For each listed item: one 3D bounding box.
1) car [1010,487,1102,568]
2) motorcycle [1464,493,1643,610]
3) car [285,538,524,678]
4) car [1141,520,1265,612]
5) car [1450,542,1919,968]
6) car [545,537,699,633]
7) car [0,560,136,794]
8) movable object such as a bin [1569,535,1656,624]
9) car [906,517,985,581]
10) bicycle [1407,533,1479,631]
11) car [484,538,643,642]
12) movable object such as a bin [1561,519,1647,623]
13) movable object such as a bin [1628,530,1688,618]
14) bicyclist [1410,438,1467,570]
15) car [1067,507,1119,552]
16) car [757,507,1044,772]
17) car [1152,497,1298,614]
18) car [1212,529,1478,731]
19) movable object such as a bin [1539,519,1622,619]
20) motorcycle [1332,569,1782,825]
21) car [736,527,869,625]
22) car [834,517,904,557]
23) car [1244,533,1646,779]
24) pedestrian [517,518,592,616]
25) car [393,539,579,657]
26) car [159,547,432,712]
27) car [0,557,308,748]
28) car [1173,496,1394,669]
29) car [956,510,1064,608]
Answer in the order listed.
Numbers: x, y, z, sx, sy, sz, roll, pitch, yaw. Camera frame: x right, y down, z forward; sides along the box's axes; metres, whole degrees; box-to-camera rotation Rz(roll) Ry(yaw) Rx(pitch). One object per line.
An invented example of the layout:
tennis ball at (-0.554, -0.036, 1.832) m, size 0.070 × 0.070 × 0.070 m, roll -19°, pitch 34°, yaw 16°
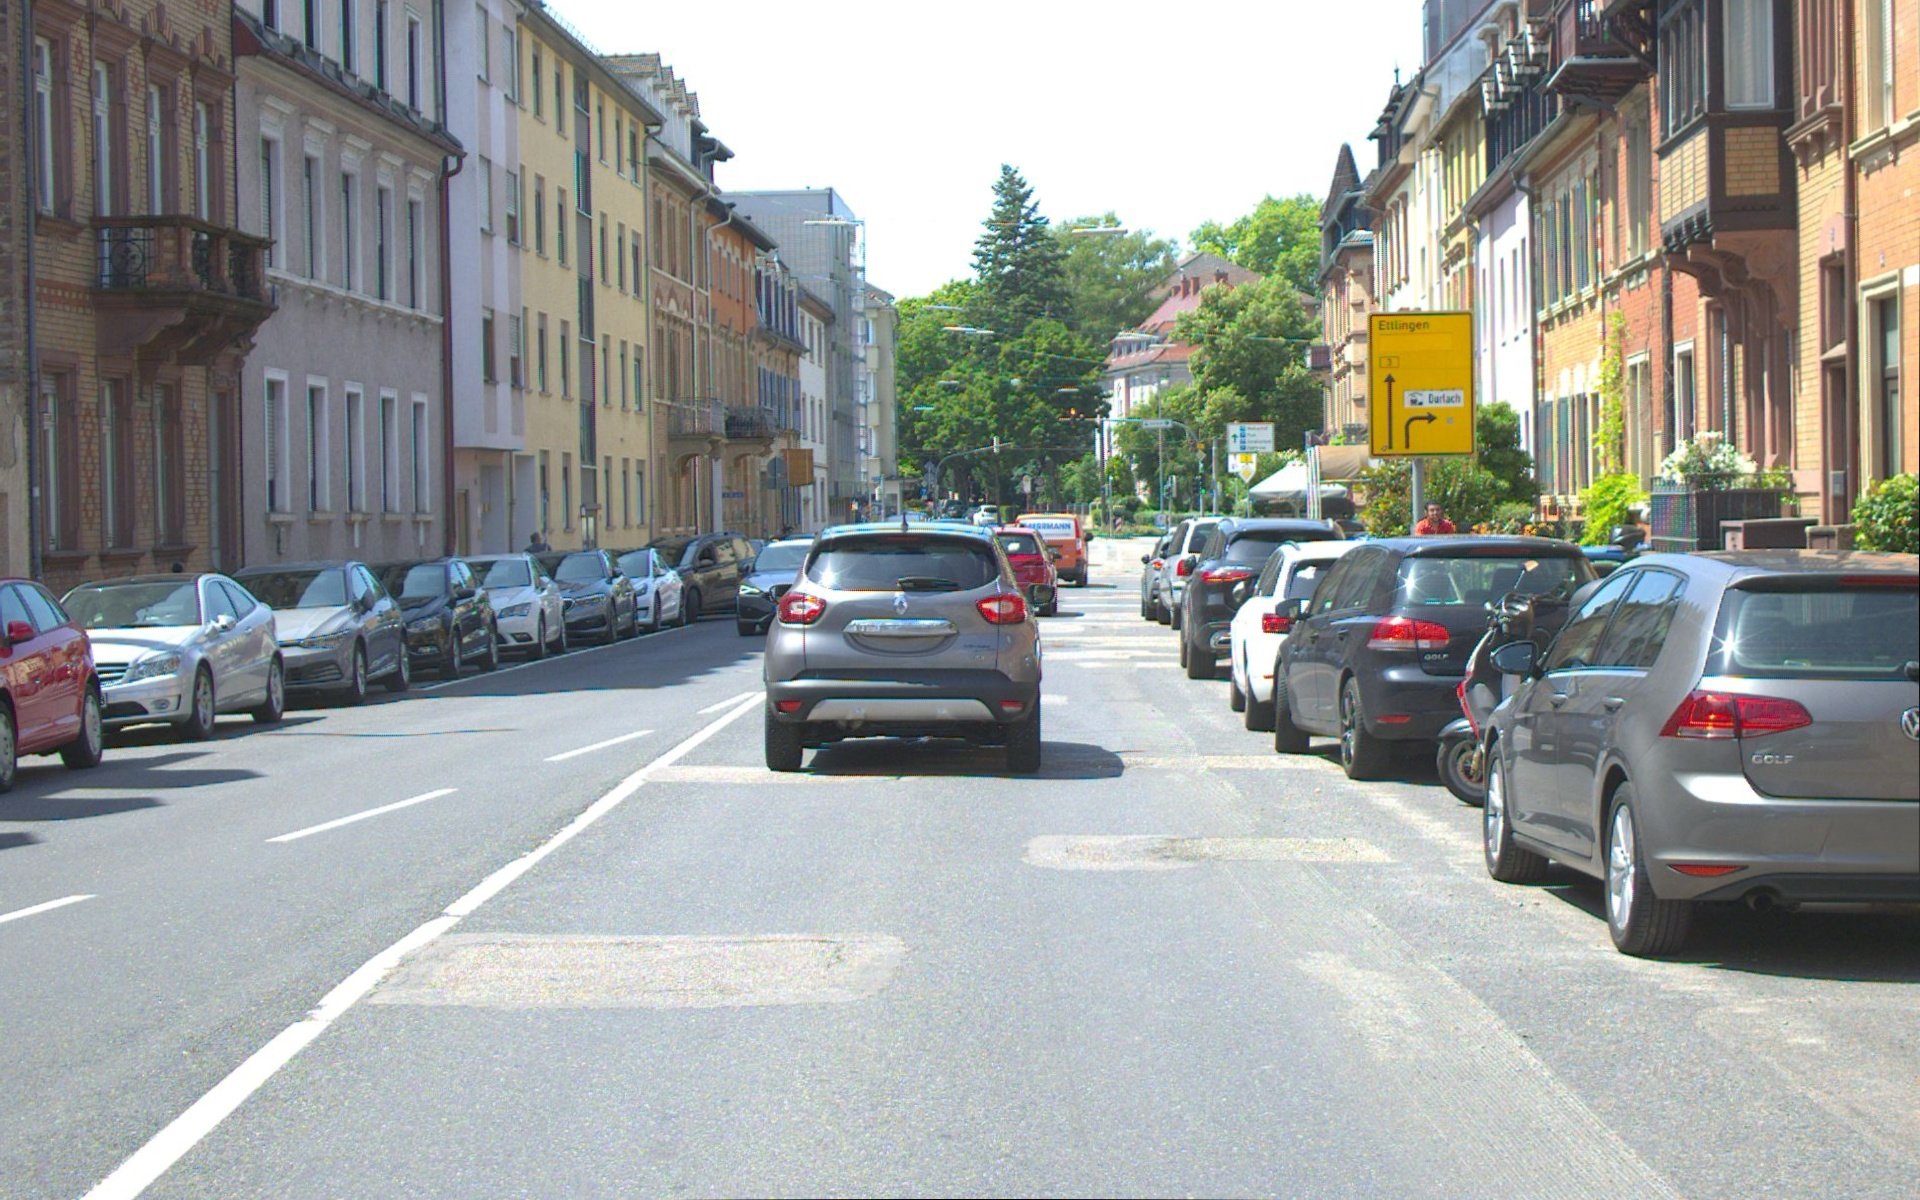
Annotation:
car at (2.537, -1.914, 89.804) m, size 1.994 × 2.006 × 4.465 m, roll -2°, pitch 2°, yaw 6°
motorcycle at (7.784, -0.642, 45.144) m, size 2.129 × 1.403 × 0.937 m, roll -3°, pitch 1°, yaw 2°
car at (-6.632, 0.051, 41.542) m, size 1.840 × 1.417 × 4.502 m, roll -5°, pitch 1°, yaw 3°
car at (4.151, -0.615, 59.307) m, size 1.860 × 1.482 × 4.310 m, roll 0°, pitch 2°, yaw 0°
car at (3.099, 0.477, 13.428) m, size 1.700 × 1.376 × 4.167 m, roll -1°, pitch 1°, yaw -1°
car at (-5.701, -0.282, 58.541) m, size 1.840 × 1.417 × 4.557 m, roll -4°, pitch 1°, yaw 3°
car at (-7.026, 0.531, 23.287) m, size 1.839 × 1.417 × 4.503 m, roll -4°, pitch 1°, yaw -2°
movable object such as a bin at (6.945, -0.222, 36.600) m, size 0.788 × 0.904 × 0.539 m, roll -2°, pitch 1°, yaw -1°
car at (-0.409, -1.548, 103.463) m, size 1.994 × 1.786 × 5.148 m, roll -2°, pitch 1°, yaw 3°
bicycle at (5.472, -0.217, 39.021) m, size 0.593 × 1.062 × 1.882 m, roll -2°, pitch 1°, yaw 2°
car at (-6.035, -0.187, 52.768) m, size 1.840 × 1.417 × 4.646 m, roll -4°, pitch 1°, yaw 0°
movable object such as a bin at (6.968, -0.319, 37.223) m, size 0.788 × 1.085 × 0.539 m, roll -2°, pitch 1°, yaw -1°
movable object such as a bin at (8.660, -0.328, 42.675) m, size 0.609 × 1.073 × 0.761 m, roll -1°, pitch 1°, yaw 3°
bicyclist at (5.435, -1.087, 39.082) m, size 0.532 × 1.464 × 0.791 m, roll -2°, pitch 1°, yaw 3°
car at (4.837, -2.556, 124.326) m, size 1.763 × 1.554 × 3.942 m, roll -1°, pitch 1°, yaw 4°
car at (-0.335, 0.204, 22.917) m, size 1.744 × 1.611 × 4.000 m, roll 0°, pitch 1°, yaw 1°
car at (4.118, -0.740, 54.086) m, size 1.860 × 1.742 × 4.619 m, roll 0°, pitch 2°, yaw -1°
car at (2.976, 0.173, 27.385) m, size 1.716 × 1.409 × 4.589 m, roll -2°, pitch 1°, yaw 2°
movable object such as a bin at (6.932, -0.353, 38.408) m, size 0.788 × 1.085 × 0.554 m, roll -2°, pitch 1°, yaw -1°
motorcycle at (3.099, 0.478, 17.923) m, size 1.994 × 1.221 × 1.110 m, roll -1°, pitch 2°, yaw 40°
car at (-2.446, -0.408, 54.207) m, size 1.790 × 1.415 × 4.315 m, roll -2°, pitch 1°, yaw 1°
car at (-3.075, -2.157, 117.364) m, size 1.905 × 1.287 × 4.302 m, roll -2°, pitch 1°, yaw 5°
car at (3.015, 0.280, 22.268) m, size 1.648 × 1.409 × 4.502 m, roll -1°, pitch 1°, yaw -4°
pedestrian at (-7.385, -0.607, 62.669) m, size 1.151 × 1.744 × 0.969 m, roll -2°, pitch 1°, yaw 4°
car at (-6.399, -0.067, 46.844) m, size 1.840 × 1.417 × 4.503 m, roll -4°, pitch 1°, yaw 0°
car at (-6.816, 0.256, 35.730) m, size 1.840 × 1.417 × 4.502 m, roll -6°, pitch 1°, yaw 0°
car at (-7.091, 0.402, 29.871) m, size 1.840 × 1.417 × 4.502 m, roll -3°, pitch 1°, yaw 1°
car at (3.351, -0.226, 36.380) m, size 1.993 × 1.656 × 4.625 m, roll -2°, pitch 1°, yaw 2°
car at (0.883, -0.761, 62.170) m, size 1.812 × 1.615 × 4.442 m, roll -3°, pitch 1°, yaw 1°
